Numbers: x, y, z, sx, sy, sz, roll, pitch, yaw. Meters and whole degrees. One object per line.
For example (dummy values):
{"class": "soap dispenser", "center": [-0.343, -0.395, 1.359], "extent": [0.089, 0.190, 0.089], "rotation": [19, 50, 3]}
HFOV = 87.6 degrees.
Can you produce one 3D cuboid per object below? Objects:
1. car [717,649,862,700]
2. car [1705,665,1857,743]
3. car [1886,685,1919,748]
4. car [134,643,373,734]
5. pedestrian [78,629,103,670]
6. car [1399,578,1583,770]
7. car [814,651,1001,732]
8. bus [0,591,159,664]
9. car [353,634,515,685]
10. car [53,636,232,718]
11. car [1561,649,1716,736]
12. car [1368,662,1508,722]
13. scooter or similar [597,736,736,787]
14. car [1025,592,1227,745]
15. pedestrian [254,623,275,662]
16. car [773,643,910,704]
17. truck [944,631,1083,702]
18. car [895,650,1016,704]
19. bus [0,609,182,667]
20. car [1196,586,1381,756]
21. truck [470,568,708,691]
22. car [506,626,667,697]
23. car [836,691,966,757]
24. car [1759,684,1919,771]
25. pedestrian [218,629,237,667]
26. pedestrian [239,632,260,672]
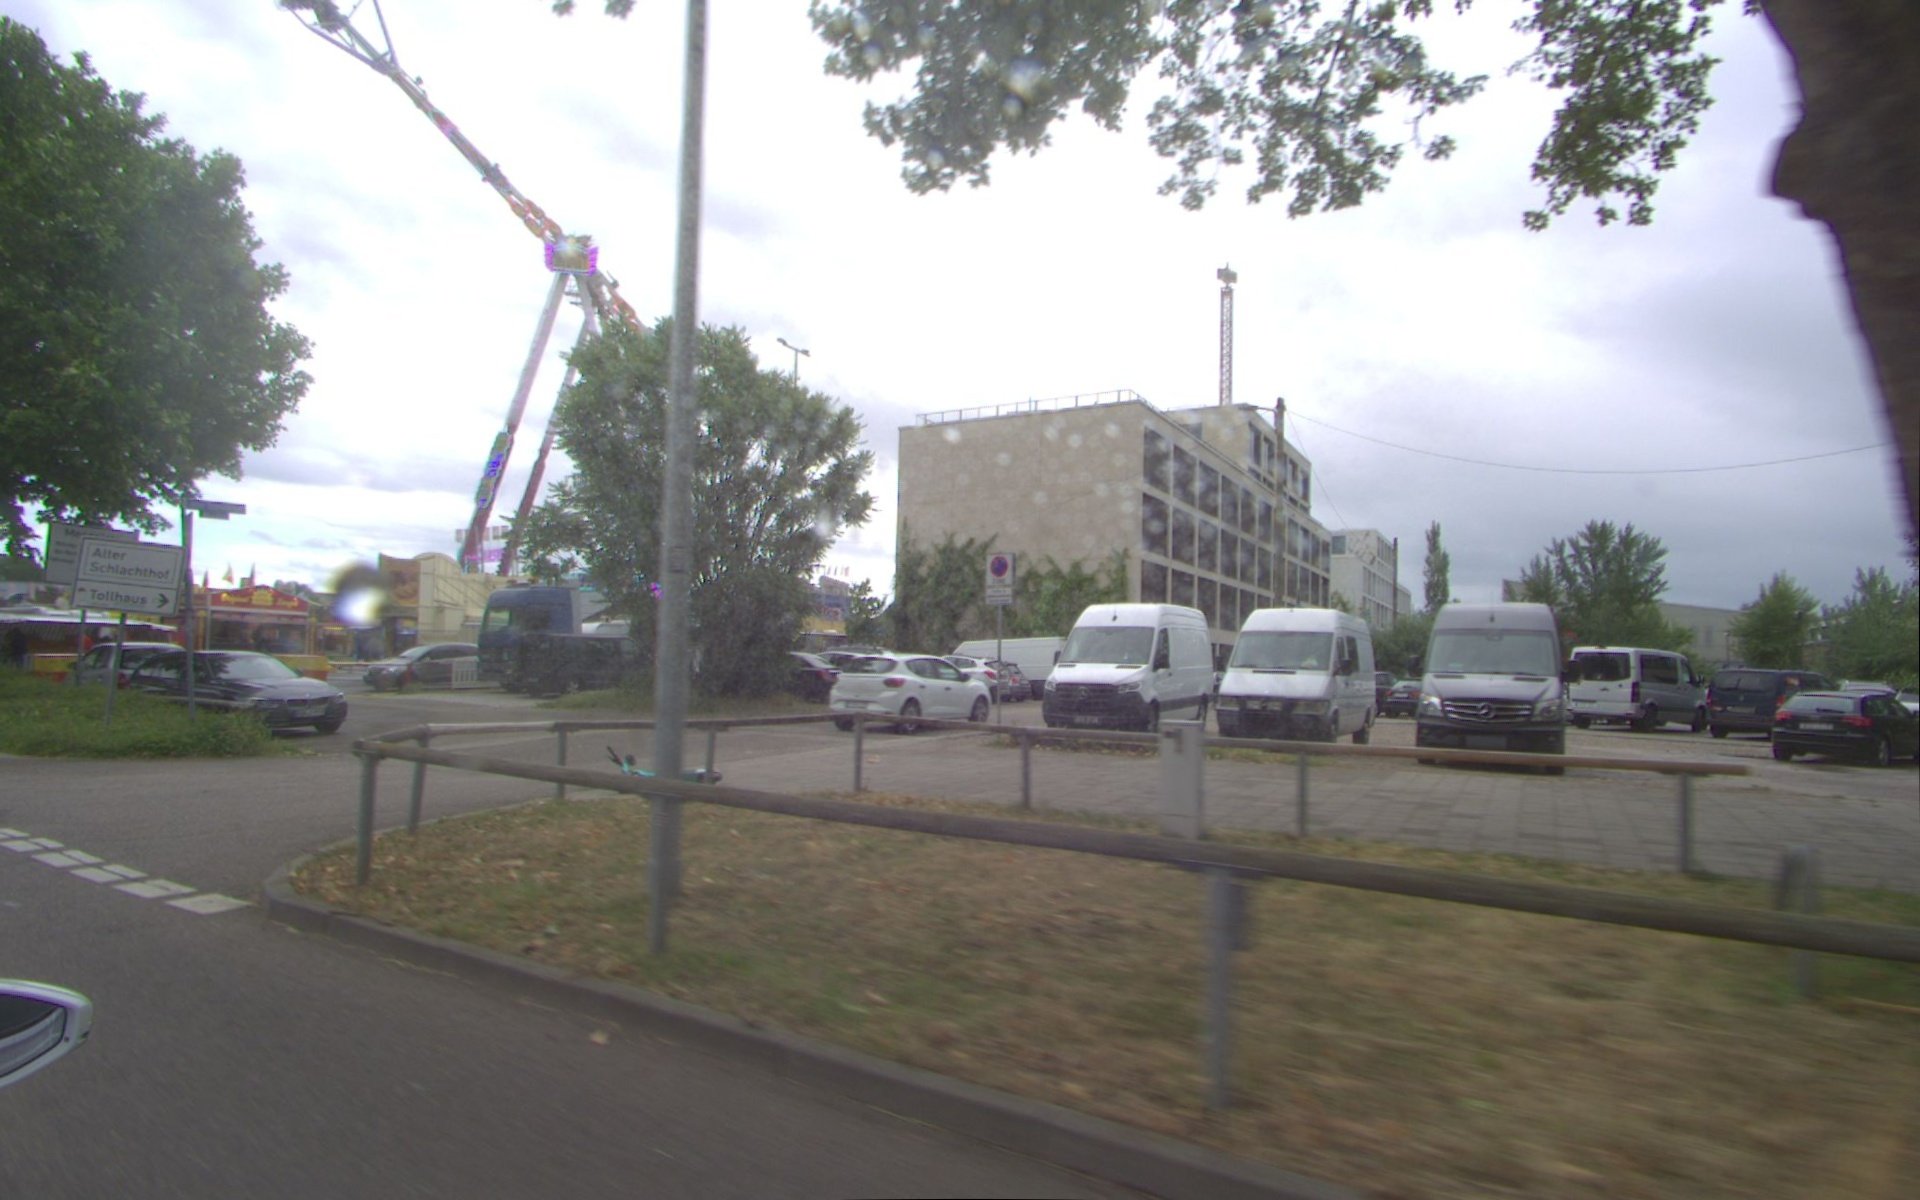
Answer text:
{"class": "car", "center": [-5.127, 2.228, 30.022], "extent": [3.939, 1.365, 1.886], "rotation": [-1, -6, 29]}
{"class": "car", "center": [22.505, 2.806, 27.441], "extent": [3.945, 1.971, 1.990], "rotation": [3, -4, -31]}
{"class": "car", "center": [25.309, 2.954, 25.464], "extent": [3.955, 1.537, 1.985], "rotation": [4, -4, -38]}
{"class": "car", "center": [-12.725, 1.530, 18.030], "extent": [3.937, 1.448, 1.864], "rotation": [-1, -4, 27]}
{"class": "pedestrian", "center": [-32.418, 1.844, 37.322], "extent": [0.515, 1.481, 0.492], "rotation": [0, -3, 28]}
{"class": "car", "center": [8.813, 1.261, 16.299], "extent": [2.140, 2.551, 5.781], "rotation": [0, -5, 33]}
{"class": "car", "center": [-0.967, 1.827, 20.552], "extent": [1.865, 1.471, 3.982], "rotation": [-1, -4, 33]}
{"class": "bus", "center": [-40.149, 1.203, 42.659], "extent": [1.969, 2.996, 9.278], "rotation": [0, -4, 28]}
{"class": "car", "center": [-17.935, 2.053, 34.363], "extent": [1.970, 1.594, 4.572], "rotation": [-1, -4, 29]}
{"class": "car", "center": [-17.657, 1.607, 21.607], "extent": [3.944, 1.614, 1.860], "rotation": [-1, -4, 33]}
{"class": "car", "center": [19.934, 2.678, 29.390], "extent": [4.657, 2.372, 1.990], "rotation": [3, -3, -31]}
{"class": "car", "center": [15.966, 3.044, 33.378], "extent": [4.657, 1.830, 1.990], "rotation": [3, -4, -31]}
{"class": "scooter or similar", "center": [-3.324, 1.799, 11.284], "extent": [1.166, 0.353, 1.322], "rotation": [2, -3, -34]}
{"class": "car", "center": [3.541, 1.356, 20.039], "extent": [2.068, 2.586, 6.022], "rotation": [-1, -4, 29]}
{"class": "pedestrian", "center": [-30.899, 1.877, 44.465], "extent": [0.485, 1.707, 0.523], "rotation": [0, -3, 15]}
{"class": "car", "center": [-3.789, 2.334, 32.018], "extent": [3.938, 1.664, 1.885], "rotation": [1, -3, 29]}
{"class": "truck", "center": [2.289, 2.870, 43.884], "extent": [5.776, 2.762, 2.044], "rotation": [1, -3, 35]}
{"class": "car", "center": [-0.159, 2.777, 36.388], "extent": [3.938, 1.664, 1.885], "rotation": [1, -3, 29]}
{"class": "bus", "center": [-37.643, 1.570, 40.864], "extent": [1.969, 2.254, 9.278], "rotation": [-1, -4, 28]}
{"class": "car", "center": [6.143, 1.367, 18.141], "extent": [2.009, 2.564, 5.786], "rotation": [-1, -6, 30]}
{"class": "truck", "center": [-12.868, 1.189, 35.728], "extent": [2.561, 3.869, 8.188], "rotation": [-1, -4, 29]}
{"class": "car", "center": [-11.720, 1.908, 31.764], "extent": [1.969, 2.039, 4.571], "rotation": [1, -2, 29]}
{"class": "car", "center": [-1.995, 4.128, 33.760], "extent": [3.939, 1.902, 1.885], "rotation": [0, -3, 30]}
{"class": "car", "center": [18.094, 2.511, 20.398], "extent": [3.955, 1.537, 1.985], "rotation": [4, -4, -38]}
{"class": "pedestrian", "center": [-33.126, 2.167, 45.281], "extent": [0.515, 1.707, 0.492], "rotation": [0, -3, 28]}
{"class": "pedestrian", "center": [-30.913, 2.257, 43.564], "extent": [0.485, 1.707, 0.523], "rotation": [0, -3, 15]}
